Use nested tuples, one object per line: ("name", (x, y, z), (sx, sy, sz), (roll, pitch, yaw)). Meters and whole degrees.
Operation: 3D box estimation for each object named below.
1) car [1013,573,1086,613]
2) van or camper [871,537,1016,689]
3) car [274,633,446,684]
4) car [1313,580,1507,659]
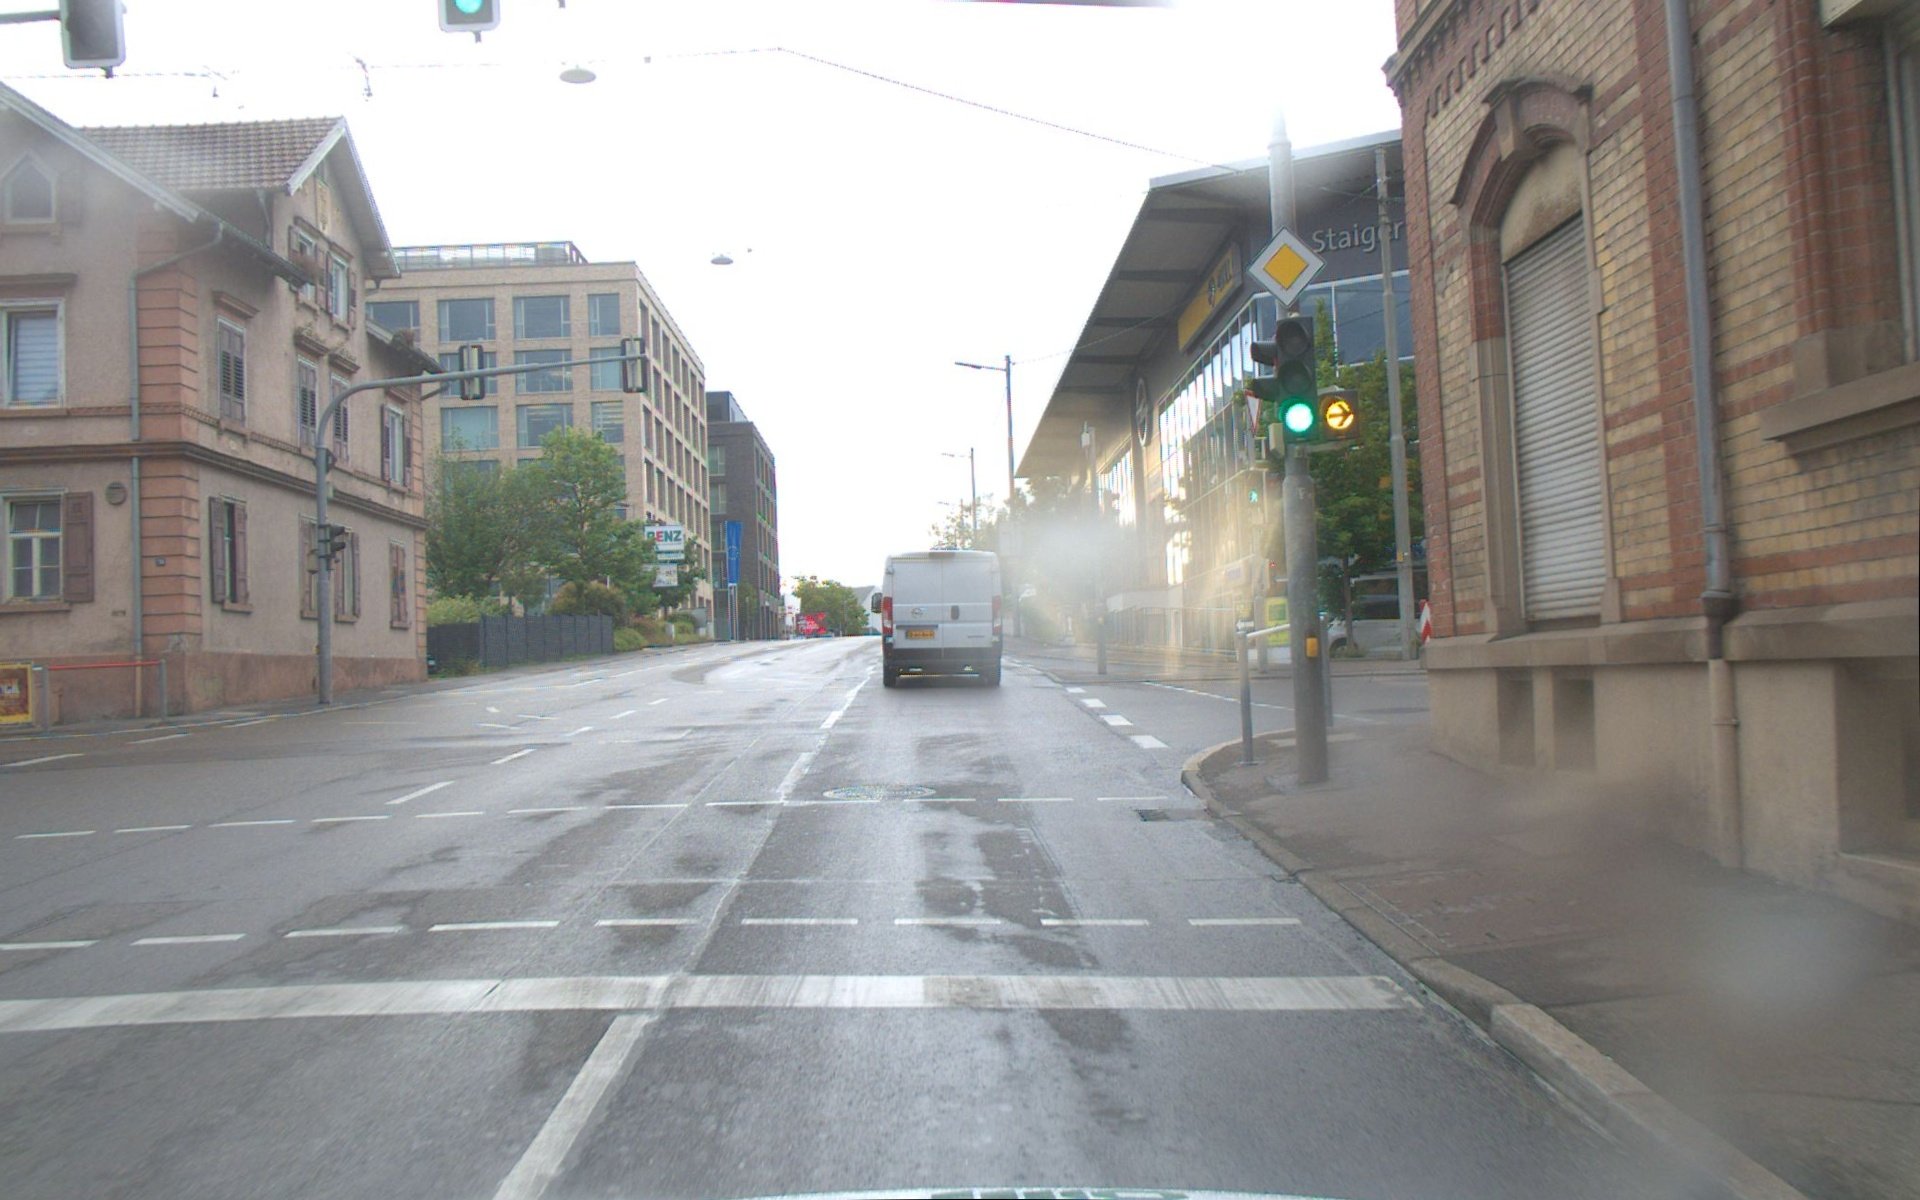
("car", (4.377, -0.307, 80.222), (1.954, 1.740, 4.426), (-5, -2, 24))
("van or camper", (-0.301, 0.250, 29.411), (2.292, 2.398, 5.198), (-1, -1, -1))
("car", (-15.572, 1.512, 43.077), (3.910, 1.183, 1.605), (-1, -1, -6))
("car", (10.173, 0.482, 37.389), (3.908, 1.535, 1.896), (-3, -5, 26))
